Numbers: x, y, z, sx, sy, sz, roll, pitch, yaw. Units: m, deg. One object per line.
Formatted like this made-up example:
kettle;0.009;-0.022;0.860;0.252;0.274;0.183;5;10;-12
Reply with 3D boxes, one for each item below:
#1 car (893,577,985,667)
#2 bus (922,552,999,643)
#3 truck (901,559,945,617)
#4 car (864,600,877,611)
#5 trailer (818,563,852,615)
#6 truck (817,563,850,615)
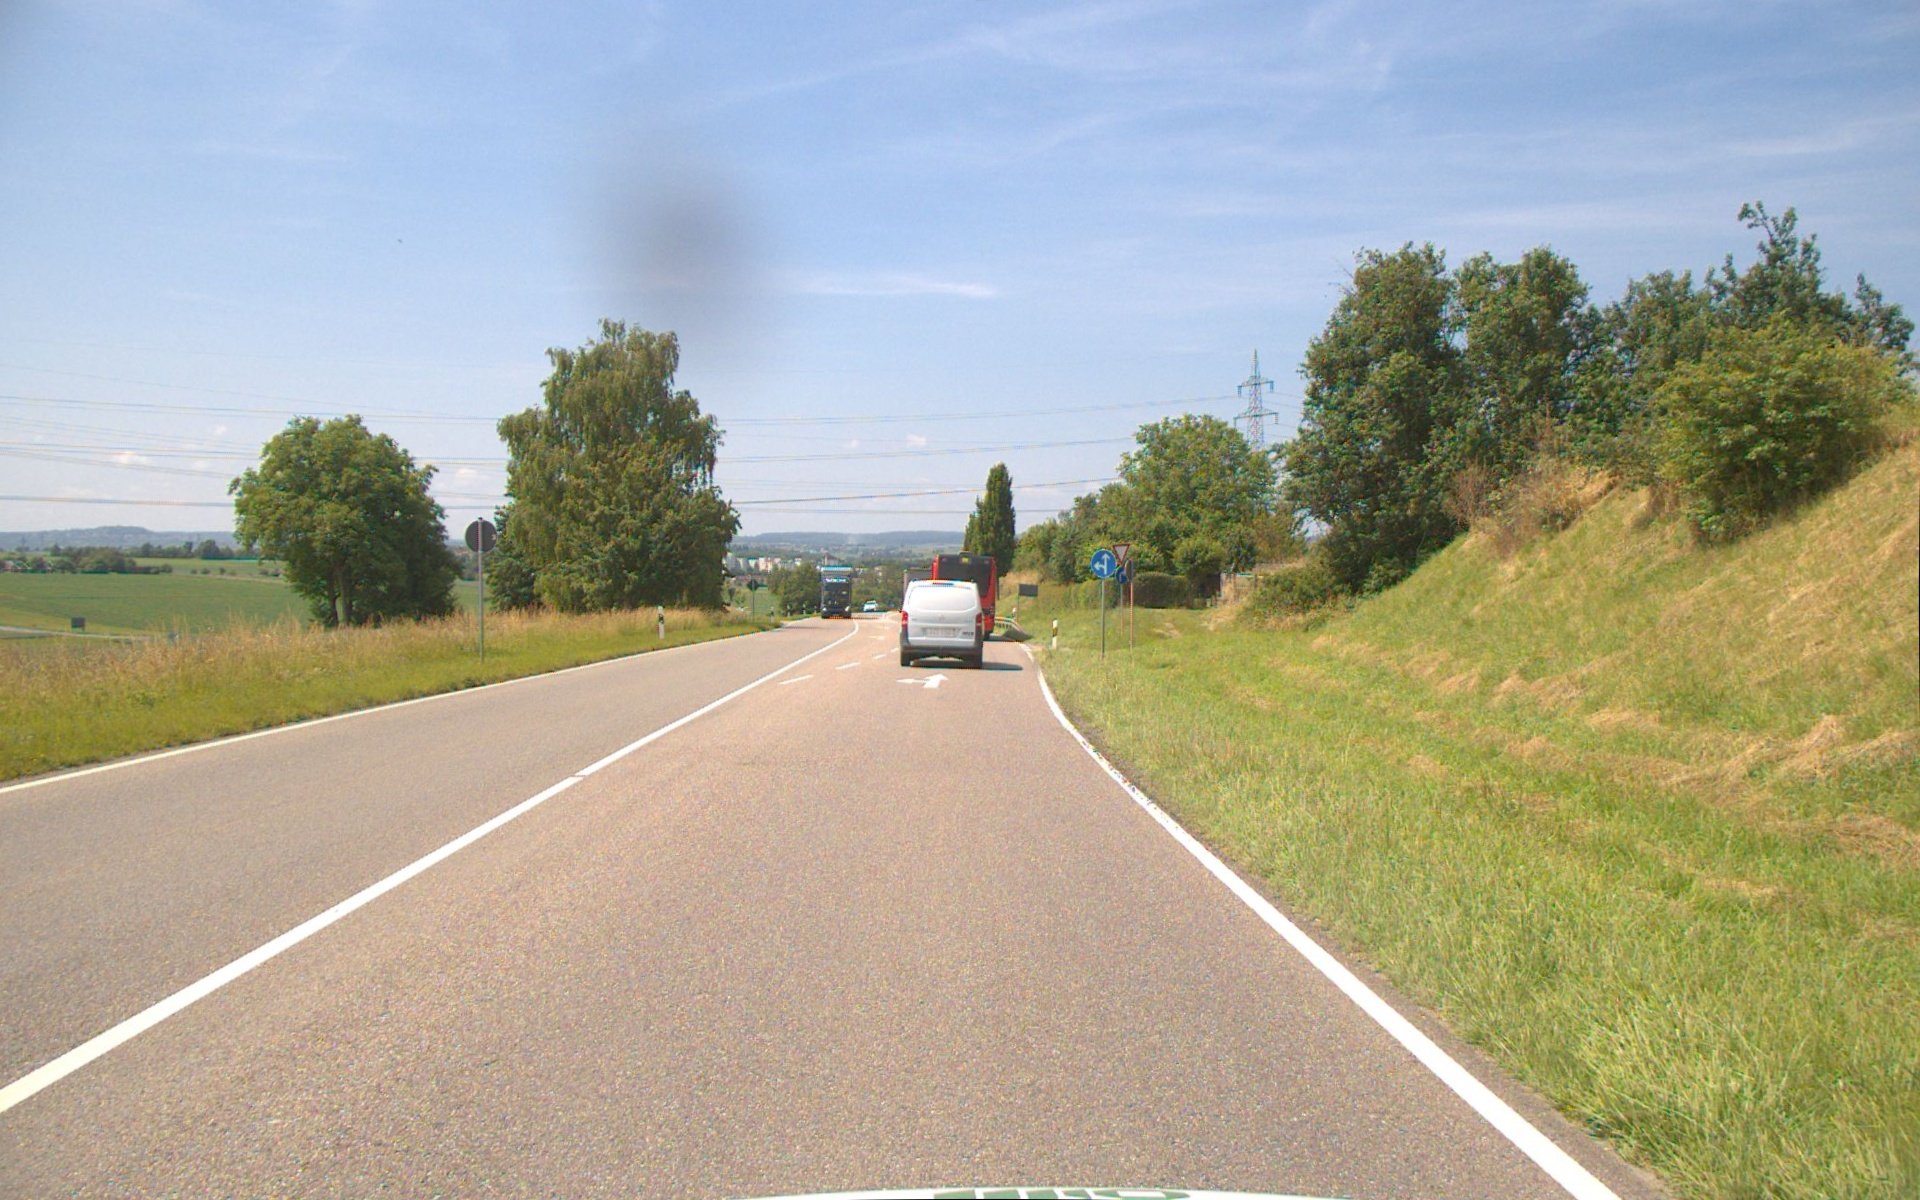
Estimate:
car;-0.427;0.467;37.793;1.883;1.922;4.001;-1;0;2
bus;-0.132;-0.279;69.642;2.692;3.411;13.218;-2;2;-2
truck;-3.124;-0.972;136.781;3.418;4.501;14.897;-1;0;-2
car;-13.281;0.762;244.603;1.816;1.593;4.073;-1;0;-2
trailer;-10.719;-0.879;142.964;2.541;4.215;13.732;1;0;-3
truck;-10.366;-0.903;136.007;2.533;4.176;5.438;1;0;-3
